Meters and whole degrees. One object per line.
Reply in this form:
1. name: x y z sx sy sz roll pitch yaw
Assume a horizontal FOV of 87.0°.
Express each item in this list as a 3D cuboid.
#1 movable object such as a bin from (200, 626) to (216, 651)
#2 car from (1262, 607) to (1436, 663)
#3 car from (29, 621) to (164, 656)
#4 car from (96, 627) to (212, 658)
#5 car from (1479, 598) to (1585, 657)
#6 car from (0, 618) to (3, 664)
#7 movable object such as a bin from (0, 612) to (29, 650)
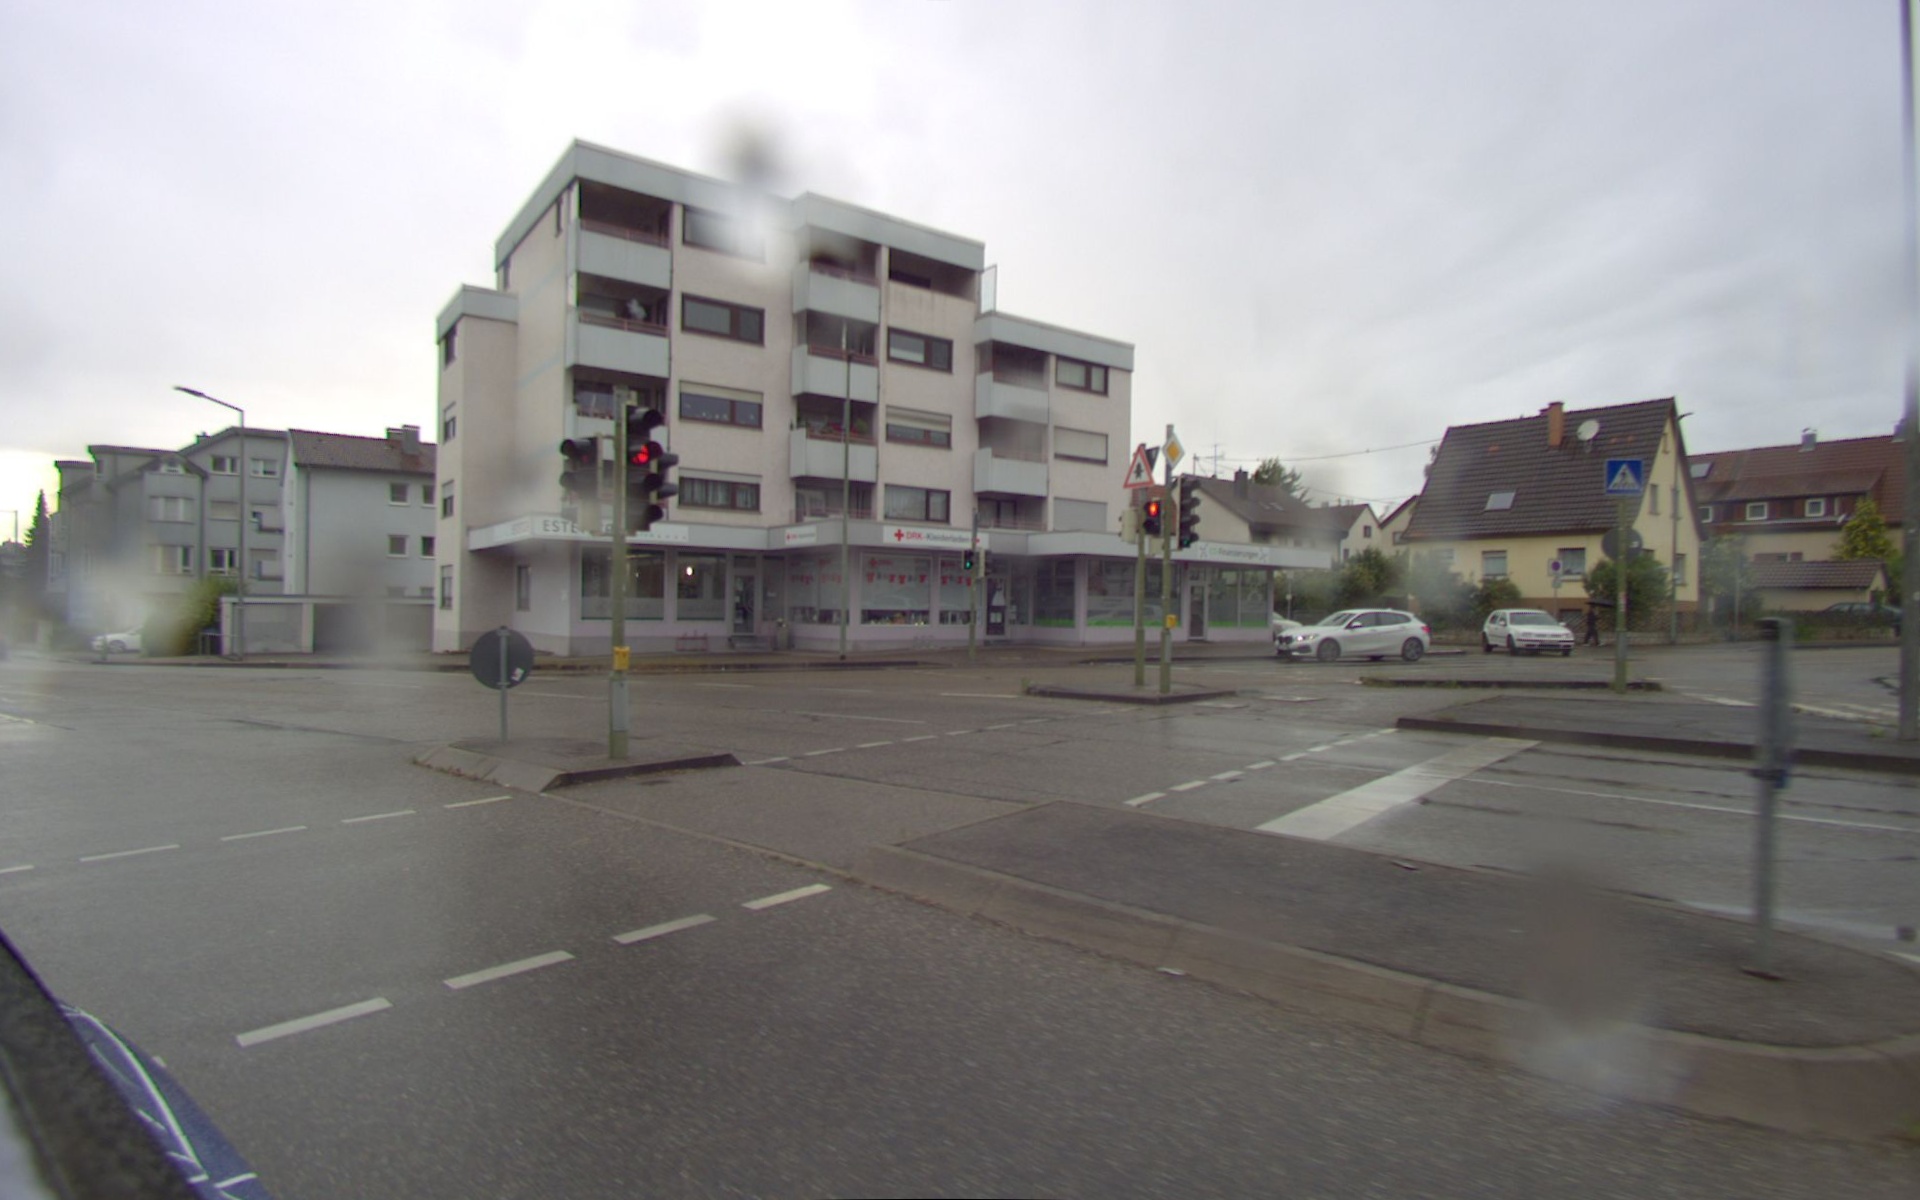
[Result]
1. movable object such as a bin: -30.063 1.530 40.466 0.492 0.968 0.602 0 -2 -38
2. car: 10.848 0.952 28.293 4.216 1.445 1.840 -1 -1 -14
3. car: -46.150 2.026 54.297 5.391 1.697 2.152 0 -1 -37
4. car: -41.560 2.155 52.231 4.557 1.508 1.931 1 -1 -44
5. car: 18.216 0.851 32.441 1.816 1.746 3.904 -1 -1 12
6. car: -44.393 1.828 45.118 4.648 2.029 1.973 -2 -1 40
7. movable object such as a bin: -73.053 2.349 77.009 2.878 2.863 2.203 0 -1 -32
